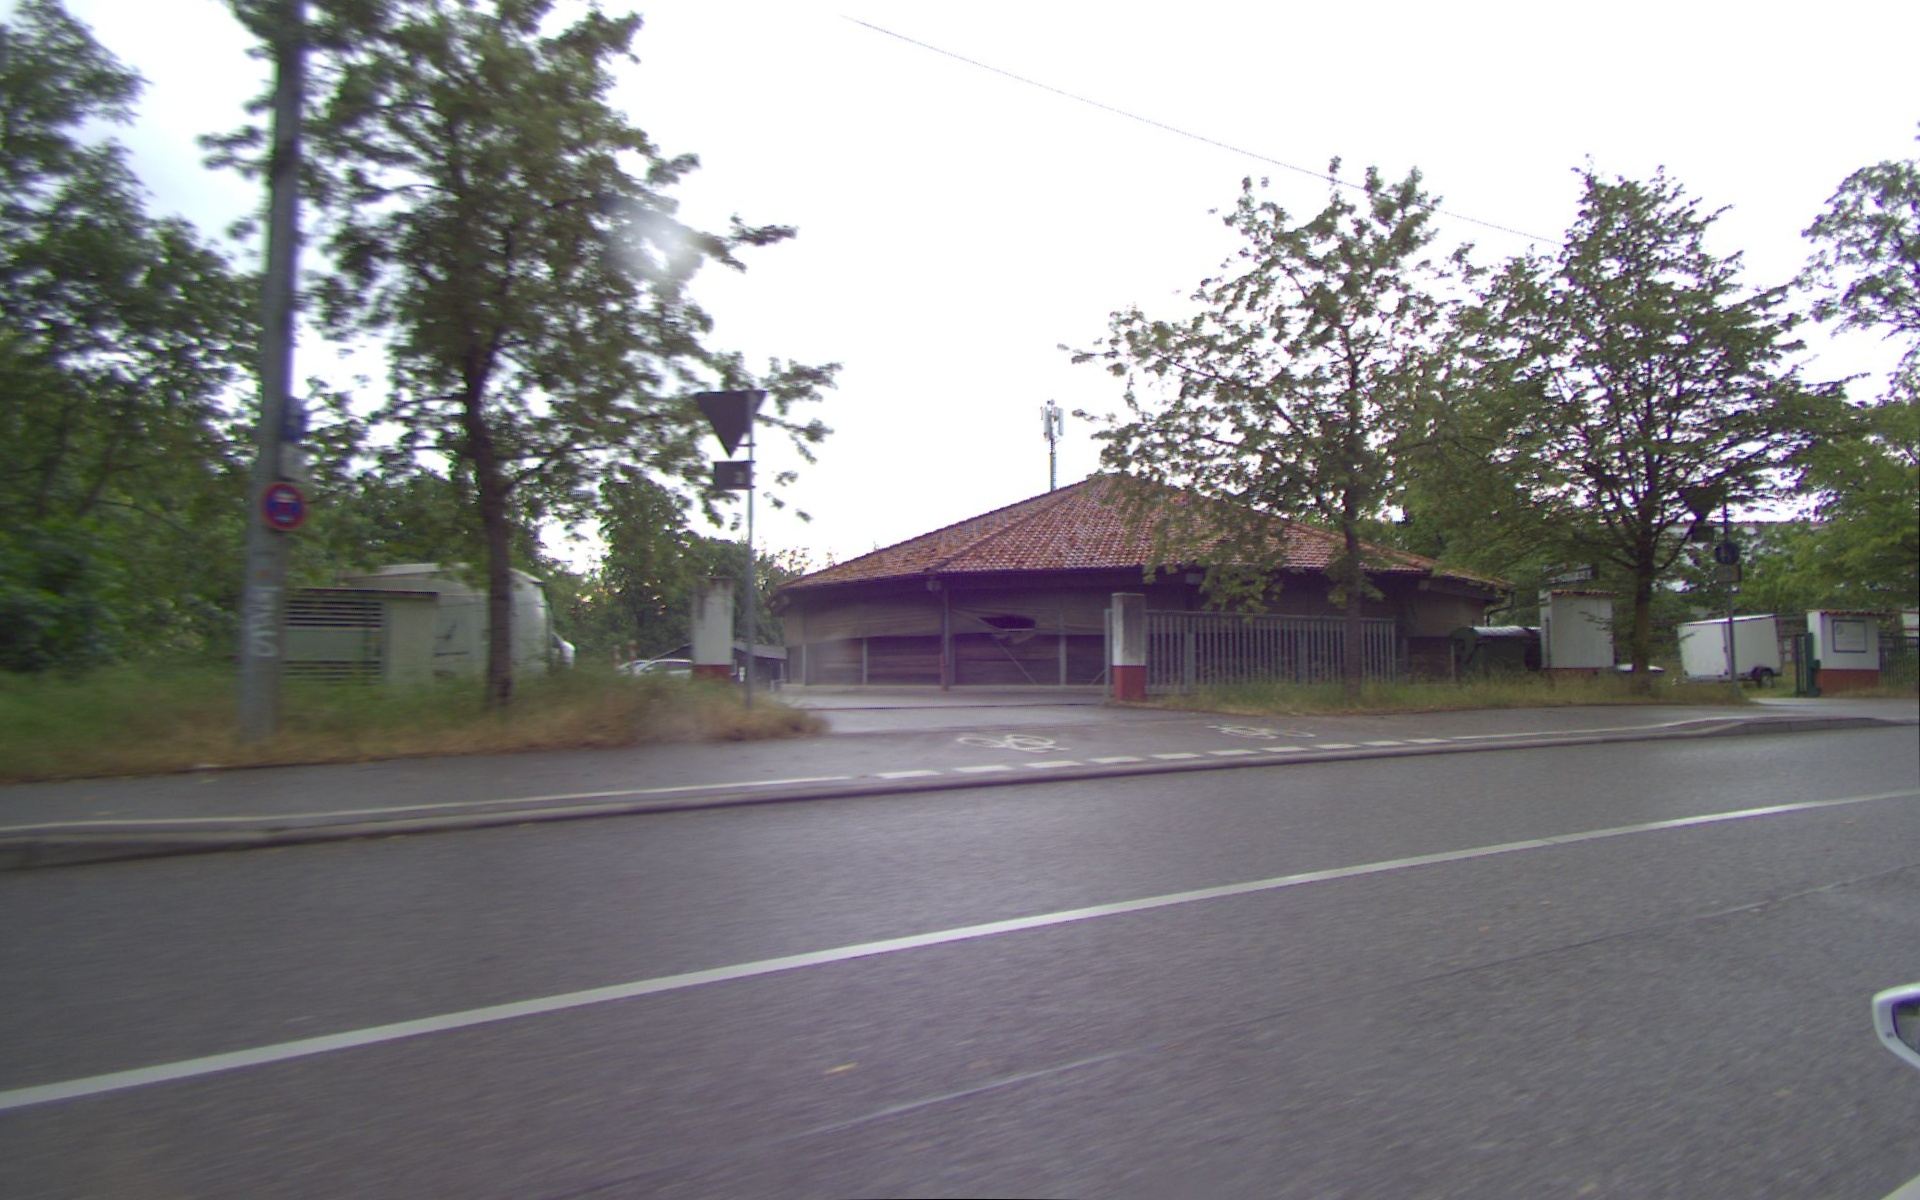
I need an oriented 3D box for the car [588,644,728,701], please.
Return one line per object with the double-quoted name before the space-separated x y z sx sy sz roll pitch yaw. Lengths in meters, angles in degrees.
"car" -11.382 2.750 38.004 4.748 2.039 1.970 2 -6 -33
